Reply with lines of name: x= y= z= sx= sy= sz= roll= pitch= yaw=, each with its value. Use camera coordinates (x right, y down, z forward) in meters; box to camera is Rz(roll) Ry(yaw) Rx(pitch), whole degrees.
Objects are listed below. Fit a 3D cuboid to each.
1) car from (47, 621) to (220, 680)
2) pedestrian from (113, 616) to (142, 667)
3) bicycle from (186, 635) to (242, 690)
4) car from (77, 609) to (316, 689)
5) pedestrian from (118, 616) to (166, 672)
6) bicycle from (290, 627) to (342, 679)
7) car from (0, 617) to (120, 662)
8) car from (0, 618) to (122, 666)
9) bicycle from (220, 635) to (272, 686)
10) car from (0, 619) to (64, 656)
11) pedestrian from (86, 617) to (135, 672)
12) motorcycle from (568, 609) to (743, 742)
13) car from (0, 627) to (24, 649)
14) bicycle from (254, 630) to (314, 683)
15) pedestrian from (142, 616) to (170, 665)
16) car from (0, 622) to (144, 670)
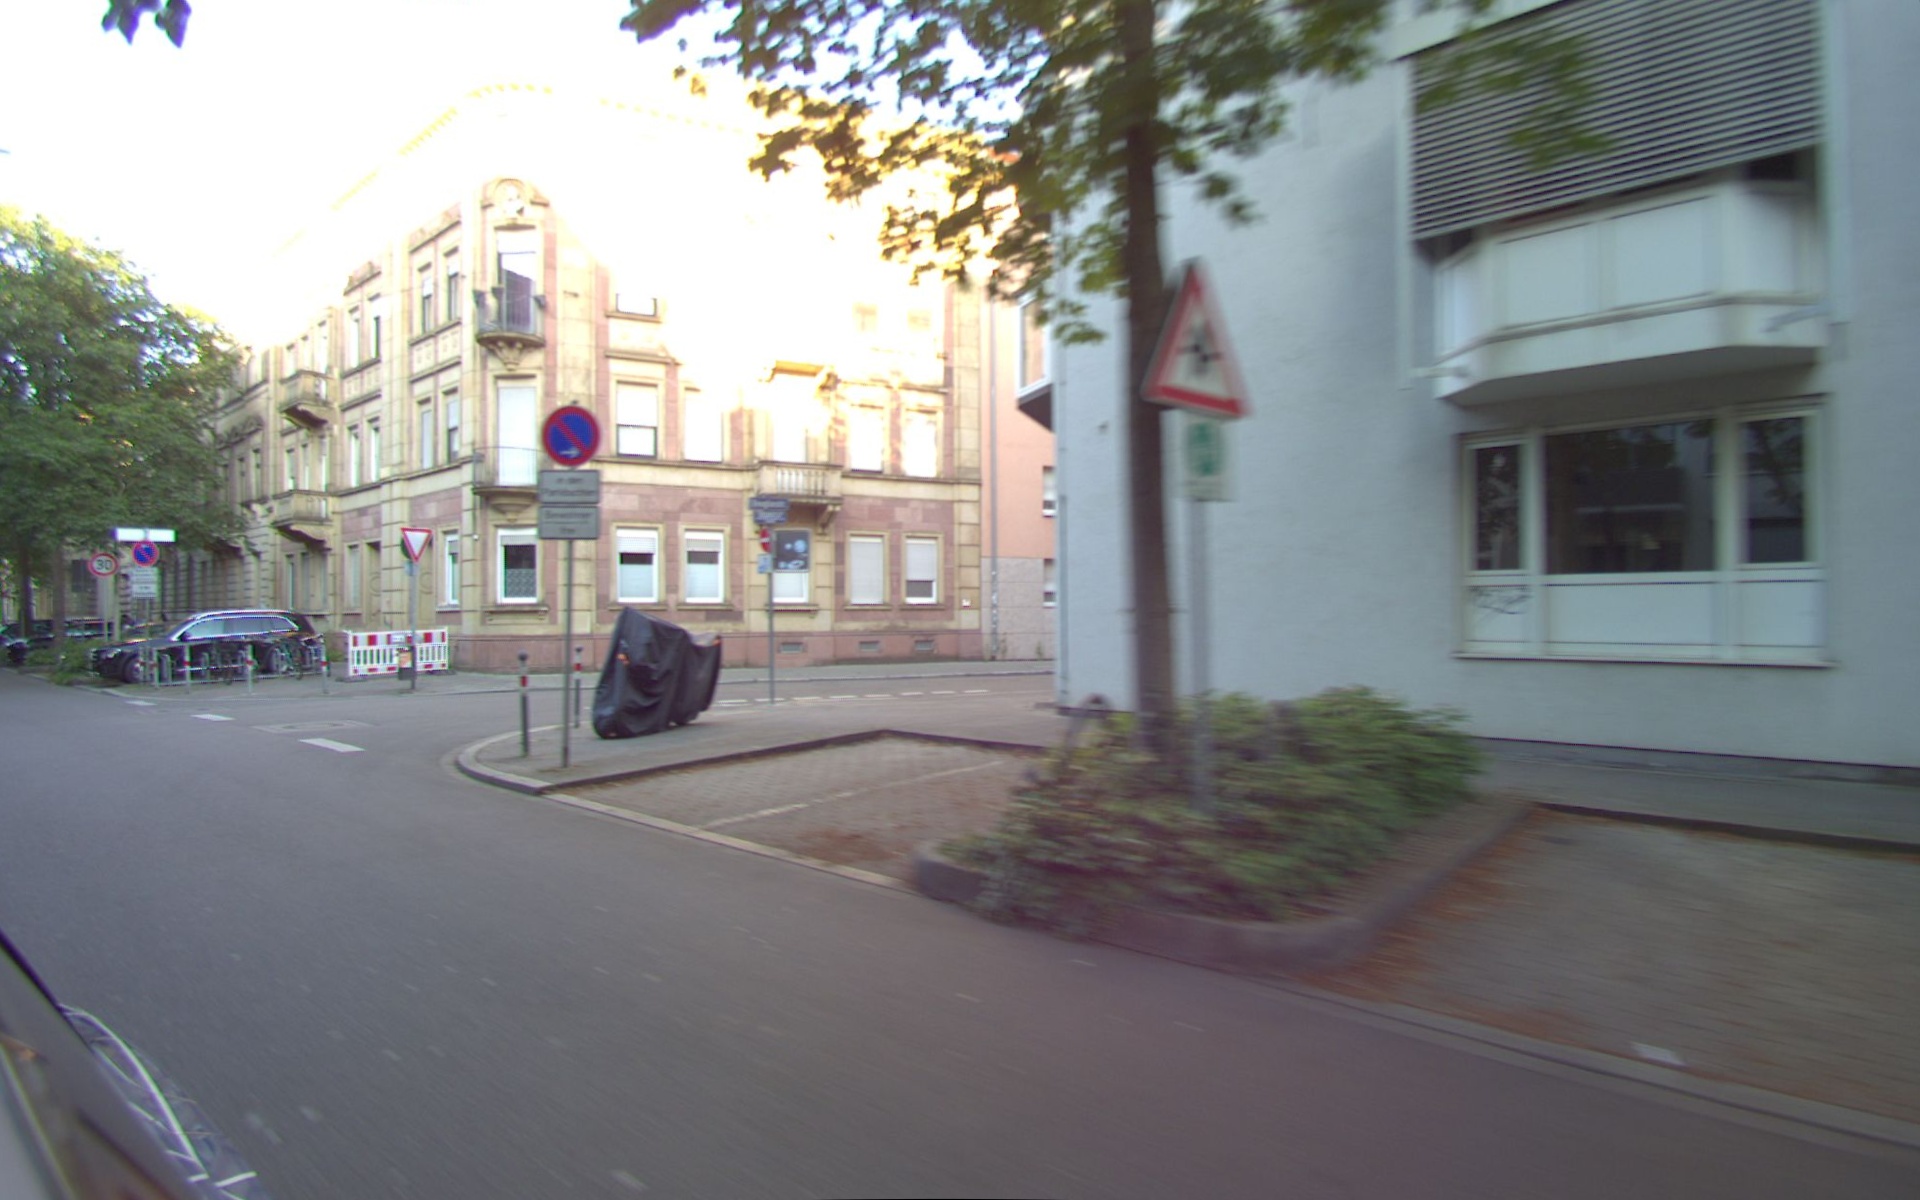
car: x=-24.133 y=1.443 z=29.637 sx=1.871 sy=1.469 sz=3.654 roll=-2 pitch=0 yaw=40
pedestrian: x=-29.353 y=1.440 z=35.676 sx=0.725 sy=1.752 sz=0.672 roll=-1 pitch=-1 yaw=-42
bicycle: x=-16.512 y=1.362 z=22.375 sx=1.860 sy=1.067 sz=0.517 roll=1 pitch=3 yaw=39
car: x=-18.545 y=1.132 z=24.737 sx=1.872 sy=1.663 sz=4.379 roll=-2 pitch=0 yaw=42
pedestrian: x=-25.609 y=1.368 z=31.677 sx=0.788 sy=1.750 sz=0.828 roll=0 pitch=-2 yaw=10
bicycle: x=-15.266 y=1.240 z=23.957 sx=1.861 sy=1.116 sz=0.511 roll=1 pitch=3 yaw=42
car: x=-38.126 y=1.644 z=42.777 sx=1.713 sy=1.684 sz=3.762 roll=-2 pitch=0 yaw=40
car: x=-36.520 y=1.669 z=40.656 sx=1.907 sy=1.684 sz=4.157 roll=-2 pitch=0 yaw=41
bicycle: x=-16.137 y=1.346 z=22.854 sx=1.861 sy=1.026 sz=0.517 roll=1 pitch=3 yaw=42
car: x=-45.999 y=1.867 z=48.779 sx=1.780 sy=1.608 sz=3.925 roll=-1 pitch=3 yaw=41
pedestrian: x=-26.526 y=1.377 z=31.614 sx=0.788 sy=1.683 sz=0.828 roll=0 pitch=-2 yaw=10
motorcycle: x=-3.695 y=0.867 z=12.513 sx=0.854 sy=1.493 sz=2.199 roll=-2 pitch=-1 yaw=23
car: x=-62.531 y=2.455 z=64.239 sx=1.916 sy=1.401 sz=4.465 roll=-1 pitch=-1 yaw=42
bicycle: x=-15.634 y=1.290 z=23.393 sx=1.861 sy=1.070 sz=0.661 roll=1 pitch=3 yaw=42
pedestrian: x=-28.996 y=1.451 z=36.496 sx=0.725 sy=1.752 sz=0.672 roll=-1 pitch=-1 yaw=-42
car: x=-31.676 y=1.591 z=36.027 sx=1.908 sy=1.544 sz=3.902 roll=-1 pitch=0 yaw=43
